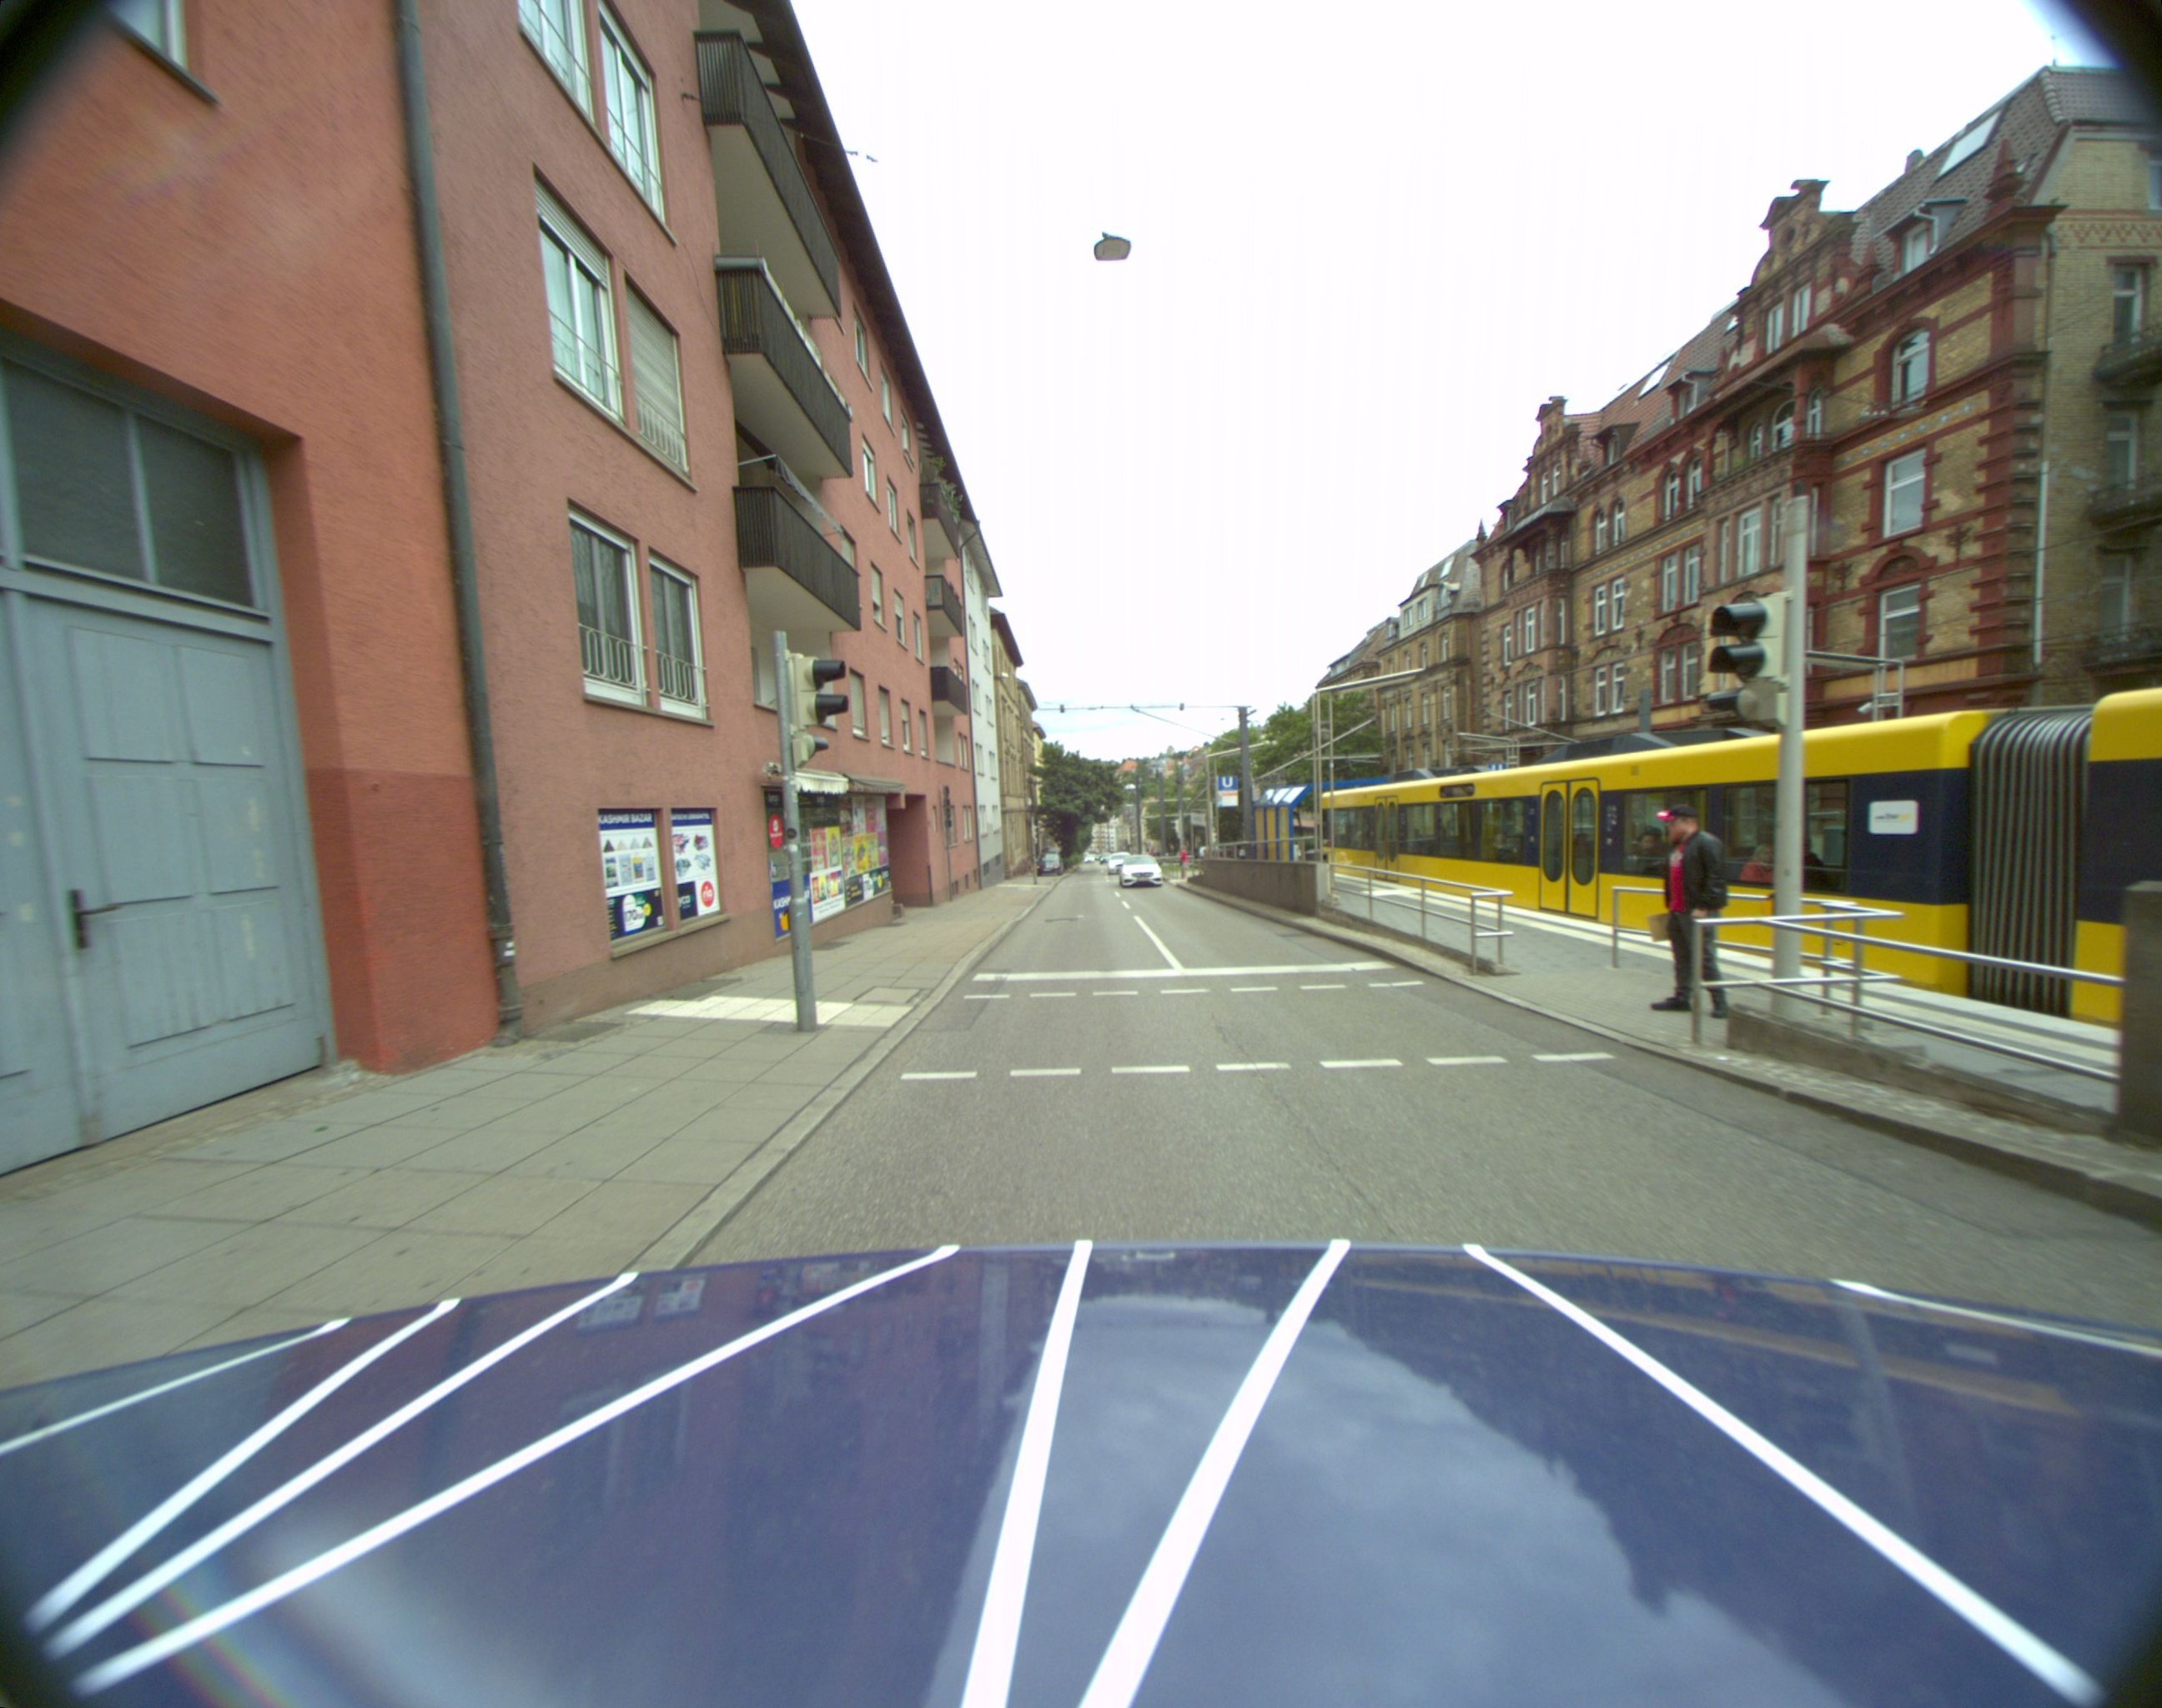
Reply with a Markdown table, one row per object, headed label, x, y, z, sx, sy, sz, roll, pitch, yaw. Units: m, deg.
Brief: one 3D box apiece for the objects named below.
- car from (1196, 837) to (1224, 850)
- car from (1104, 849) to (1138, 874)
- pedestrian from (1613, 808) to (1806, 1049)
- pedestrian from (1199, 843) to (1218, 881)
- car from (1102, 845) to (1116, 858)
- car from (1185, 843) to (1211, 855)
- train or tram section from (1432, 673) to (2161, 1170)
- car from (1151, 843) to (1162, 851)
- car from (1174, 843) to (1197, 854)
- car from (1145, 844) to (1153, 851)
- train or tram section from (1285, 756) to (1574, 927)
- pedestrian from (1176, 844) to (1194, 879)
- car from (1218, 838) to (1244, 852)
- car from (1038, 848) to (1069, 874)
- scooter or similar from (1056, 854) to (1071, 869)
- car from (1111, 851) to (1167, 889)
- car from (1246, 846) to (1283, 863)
| label | x | y | z | sx | sy | sz | roll | pitch | yaw |
| --- | --- | --- | --- | --- | --- | --- | --- | --- | --- |
| car | 19.732 | -1.569 | 116.039 | 3.862 | 1.803 | 1.781 | -3 | 0 | -23 |
| car | 2.746 | 0.470 | 52.676 | 1.999 | 1.479 | 4.229 | -5 | 0 | 0 |
| pedestrian | 5.014 | 0.555 | 6.111 | 0.818 | 1.767 | 0.802 | -3 | 1 | -6 |
| pedestrian | 5.848 | 0.353 | 34.944 | 0.623 | 1.685 | 0.660 | -3 | 1 | -9 |
| car | 3.953 | -0.308 | 107.979 | 1.881 | 1.727 | 4.000 | -3 | 0 | 2 |
| car | 20.046 | -0.839 | 130.215 | 3.859 | 1.803 | 1.782 | -3 | 0 | -15 |
| train or tram section | 8.988 | 0.112 | 10.194 | 2.957 | 3.453 | 12.210 | -2 | 4 | 0 |
| car | 20.522 | -1.814 | 206.815 | 1.999 | 2.002 | 3.998 | -3 | 0 | -5 |
| car | 19.770 | -1.064 | 144.309 | 3.859 | 1.803 | 1.782 | -3 | 0 | -15 |
| car | 19.628 | -1.795 | 220.528 | 1.998 | 2.002 | 4.000 | -3 | 0 | 2 |
| train or tram section | 9.131 | -0.545 | 22.441 | 2.957 | 3.524 | 12.392 | -3 | 3 | 1 |
| pedestrian | 5.014 | 0.360 | 36.620 | 0.680 | 1.670 | 0.685 | -3 | 1 | -2 |
| car | 20.371 | -1.259 | 103.101 | 1.780 | 1.678 | 3.865 | -2 | 1 | 41 |
| car | -1.876 | 0.481 | 53.401 | 1.862 | 1.701 | 4.308 | -1 | 0 | 2 |
| scooter or similar | -1.511 | 0.661 | 64.364 | 1.199 | 1.266 | 0.629 | 1 | 1 | -8 |
| car | 2.586 | 0.675 | 34.890 | 1.999 | 1.390 | 4.228 | -5 | 2 | -2 |
| car | 21.169 | 0.067 | 87.637 | 3.863 | 1.678 | 1.780 | -4 | 1 | -31 |
